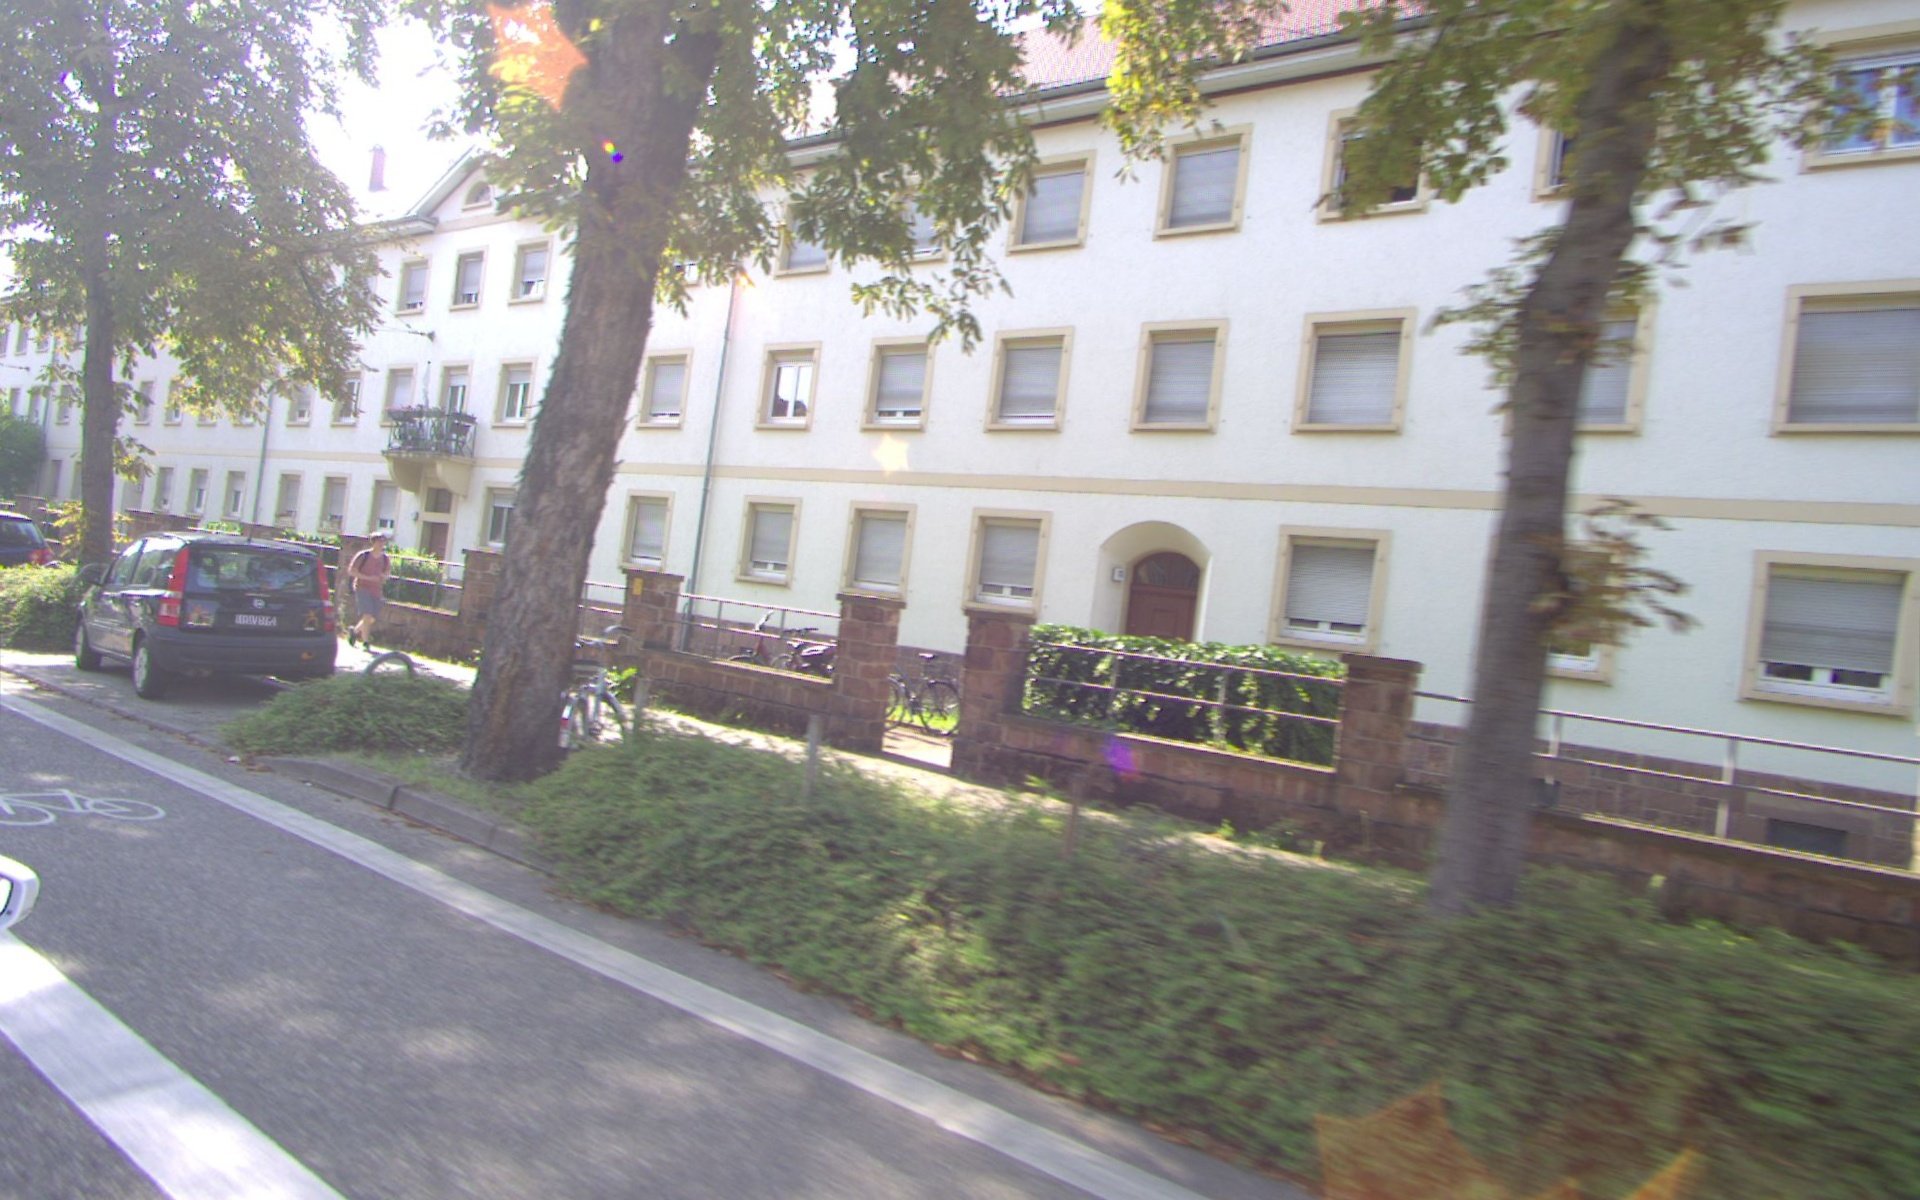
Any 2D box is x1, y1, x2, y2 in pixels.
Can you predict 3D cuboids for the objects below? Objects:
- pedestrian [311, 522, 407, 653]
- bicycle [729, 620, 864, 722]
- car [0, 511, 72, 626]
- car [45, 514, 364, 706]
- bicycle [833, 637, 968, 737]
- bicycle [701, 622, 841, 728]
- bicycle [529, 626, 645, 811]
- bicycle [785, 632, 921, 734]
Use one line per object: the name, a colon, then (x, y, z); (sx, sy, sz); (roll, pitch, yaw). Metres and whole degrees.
pedestrian: (-8.766, -0.179, 14.668); (0.865, 1.769, 0.752); (7, -1, 39)
bicycle: (-2.144, 0.914, 13.091); (1.700, 1.085, 0.524); (6, -2, 33)
car: (-14.463, -0.617, 14.256); (4.176, 1.466, 1.647); (6, 0, 32)
car: (-8.001, 0.052, 10.544); (3.784, 1.559, 1.645); (6, 0, 38)
bicycle: (-0.810, 1.146, 13.429); (1.700, 1.085, 0.524); (6, -2, 33)
bicycle: (-2.363, 0.919, 12.503); (1.700, 1.085, 0.524); (6, -2, 33)
bicycle: (-2.609, 0.776, 7.179); (0.517, 1.085, 1.724); (8, -2, -16)
bicycle: (-1.421, 1.074, 13.166); (1.700, 1.085, 0.524); (6, -2, 33)
